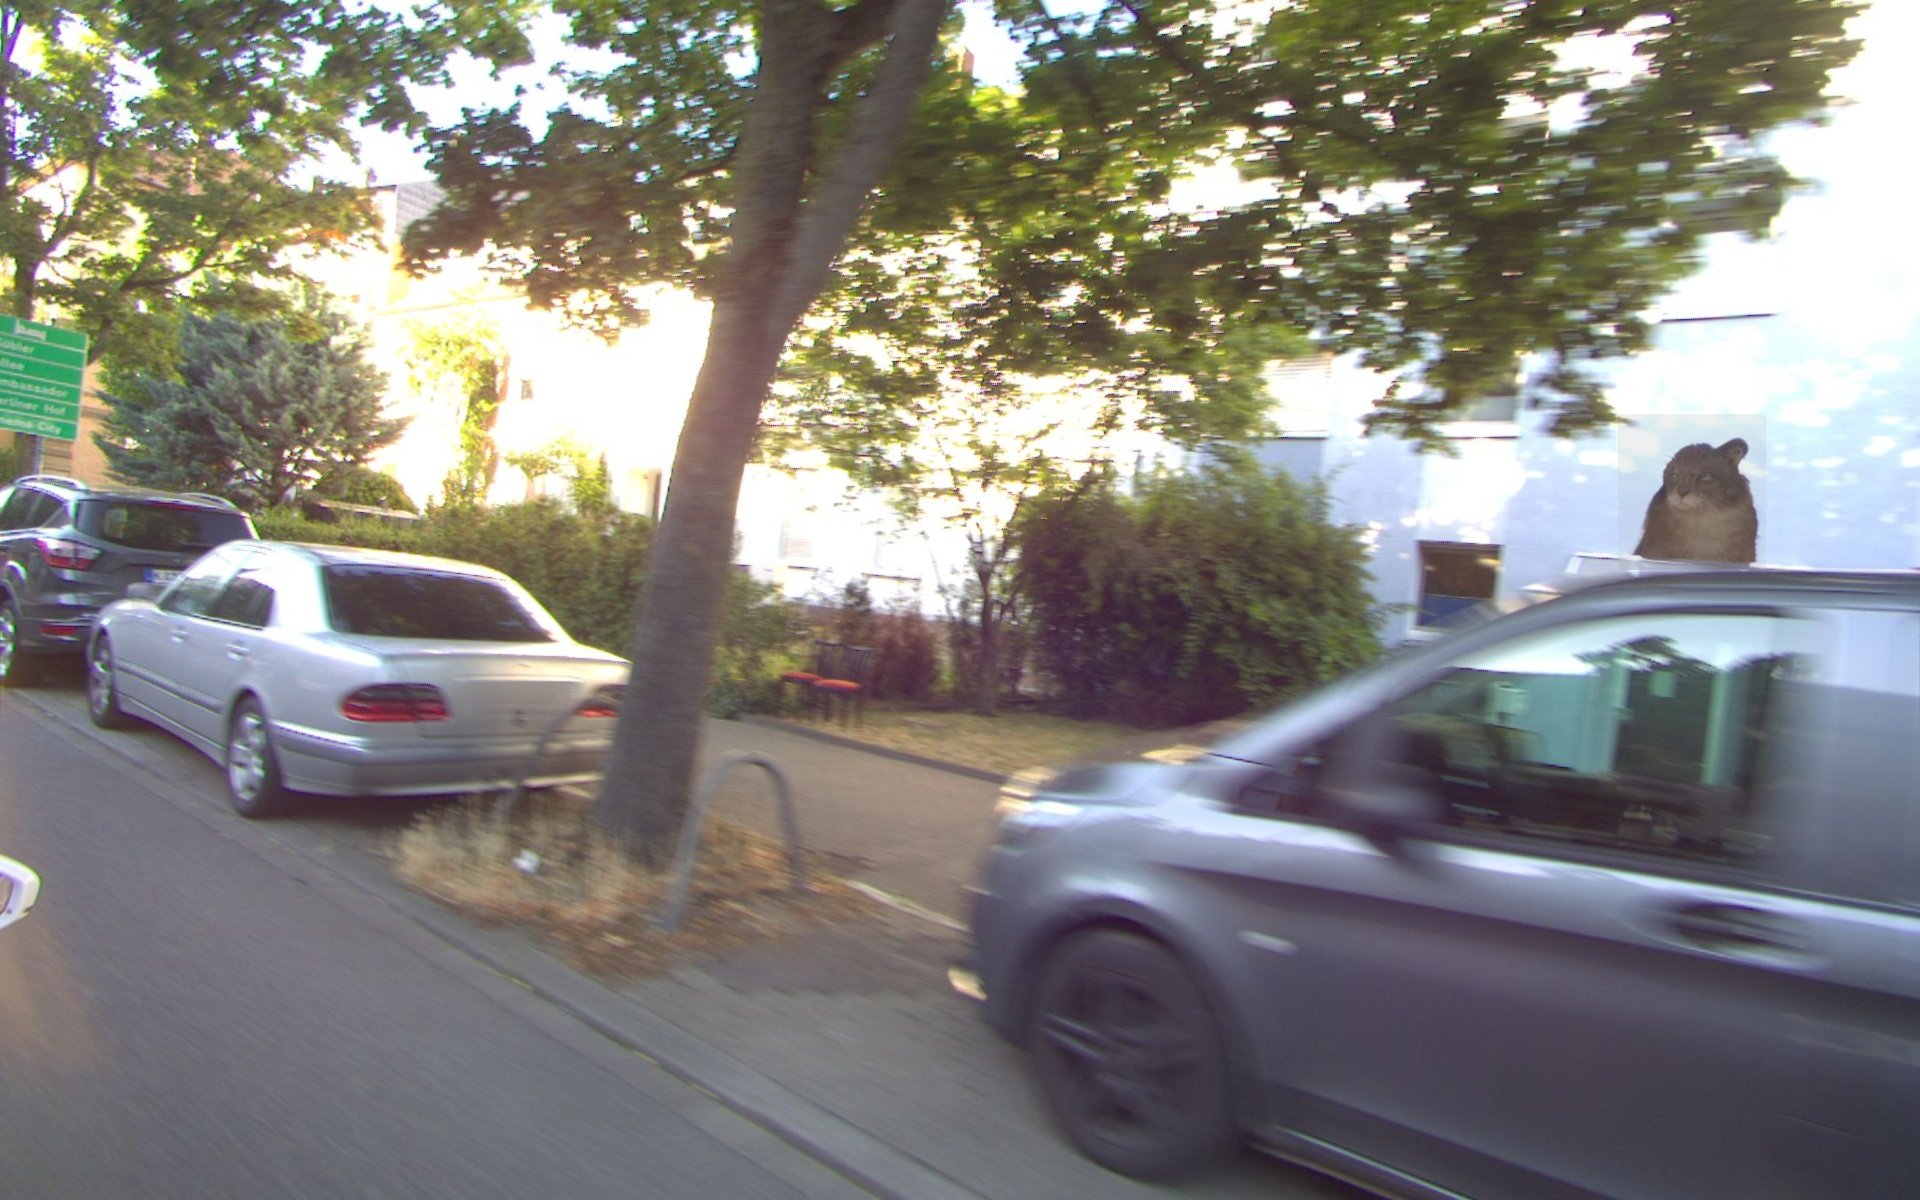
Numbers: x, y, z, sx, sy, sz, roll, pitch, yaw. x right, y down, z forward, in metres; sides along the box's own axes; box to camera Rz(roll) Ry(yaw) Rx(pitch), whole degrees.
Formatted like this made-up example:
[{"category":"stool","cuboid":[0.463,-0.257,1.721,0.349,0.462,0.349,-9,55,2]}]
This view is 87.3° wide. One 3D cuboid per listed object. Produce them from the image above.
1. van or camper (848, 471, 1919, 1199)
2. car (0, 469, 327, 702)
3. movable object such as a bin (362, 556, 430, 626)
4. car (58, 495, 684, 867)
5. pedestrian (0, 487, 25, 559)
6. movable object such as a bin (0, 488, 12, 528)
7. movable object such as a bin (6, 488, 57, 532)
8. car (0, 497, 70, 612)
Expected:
[{"category":"van or camper","cuboid":[2.389,0.872,2.581,5.177,1.865,1.993,8,1,36]},{"category":"car","cuboid":[-8.160,-0.263,9.531,4.632,1.704,1.916,7,2,34]},{"category":"movable object such as a bin","cuboid":[-9.231,-0.153,16.474,0.673,1.073,0.724,7,4,35]},{"category":"car","cuboid":[-4.095,0.280,6.601,4.757,1.522,1.784,7,0,37]},{"category":"pedestrian","cuboid":[-22.780,-1.847,23.805,0.570,1.636,0.746,7,1,34]},{"category":"movable object such as a bin","cuboid":[-38.966,-3.770,40.243,0.977,1.575,1.157,7,1,26]},{"category":"movable object such as a bin","cuboid":[-38.056,-3.676,41.239,0.977,1.575,1.157,7,1,26]},{"category":"car","cuboid":[-14.096,-0.786,13.889,4.266,1.420,1.761,7,1,36]}]
